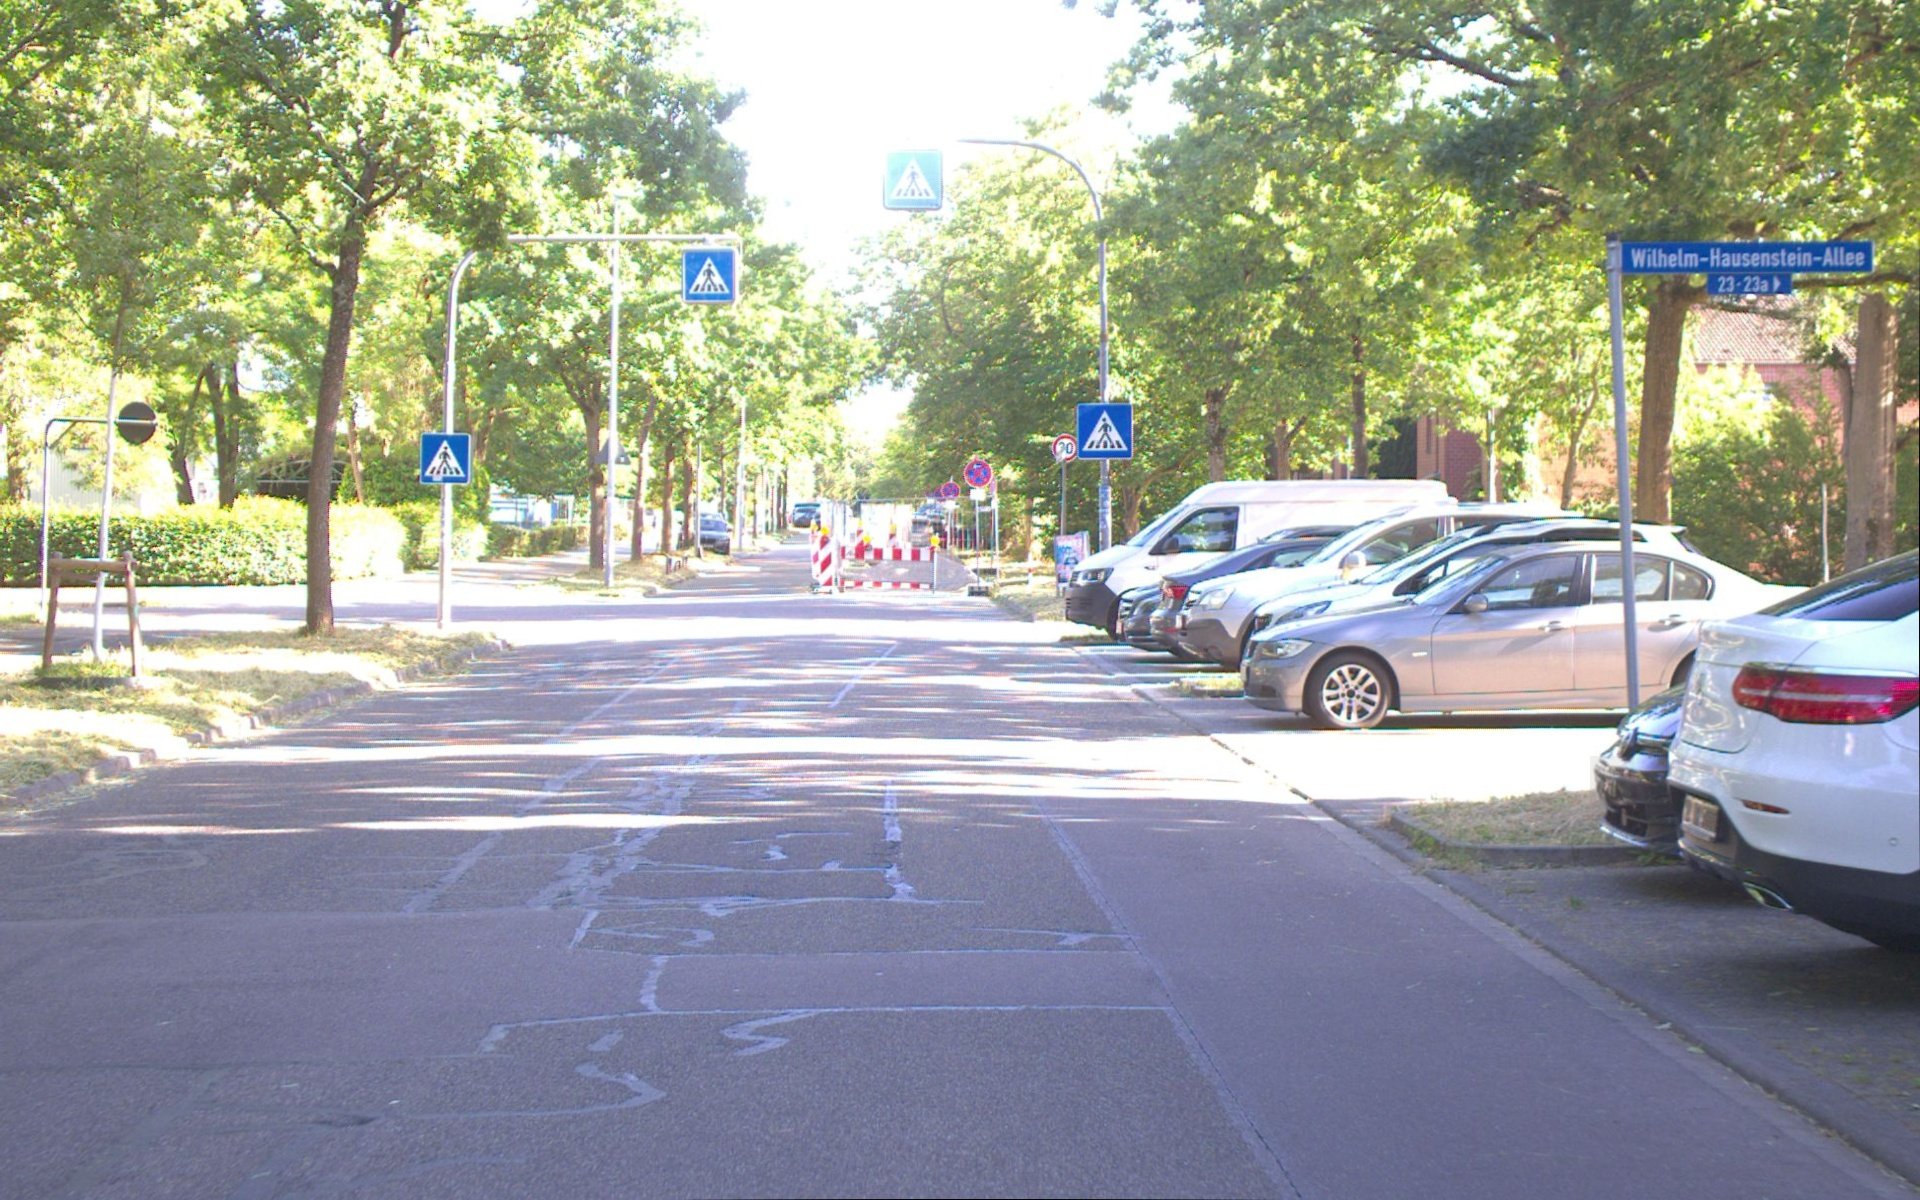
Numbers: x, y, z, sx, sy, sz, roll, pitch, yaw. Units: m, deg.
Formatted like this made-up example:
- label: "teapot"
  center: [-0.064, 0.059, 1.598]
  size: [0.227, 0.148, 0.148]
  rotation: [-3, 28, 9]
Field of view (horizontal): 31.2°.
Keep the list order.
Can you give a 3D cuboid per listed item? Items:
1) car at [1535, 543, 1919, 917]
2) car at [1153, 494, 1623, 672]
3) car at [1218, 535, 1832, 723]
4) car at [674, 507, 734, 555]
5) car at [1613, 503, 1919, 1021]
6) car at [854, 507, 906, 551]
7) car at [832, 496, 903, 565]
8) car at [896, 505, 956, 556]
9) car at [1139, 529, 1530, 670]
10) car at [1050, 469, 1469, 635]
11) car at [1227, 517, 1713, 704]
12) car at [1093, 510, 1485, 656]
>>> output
- label: "car"
  center: [4.988, 0.479, 14.752]
  size: [4.670, 1.450, 1.917]
  rotation: [-1, 1, -2]
- label: "car"
  center: [4.224, -0.193, 34.371]
  size: [4.384, 1.645, 1.851]
  rotation: [-1, 1, -3]
- label: "car"
  center: [4.320, 0.197, 26.772]
  size: [4.445, 1.385, 1.911]
  rotation: [0, 1, -1]
- label: "car"
  center: [-9.484, -2.566, 127.580]
  size: [1.993, 1.710, 4.001]
  rotation: [1, 1, -2]
- label: "car"
  center: [4.714, 0.440, 11.494]
  size: [4.670, 1.575, 1.917]
  rotation: [-1, 1, 0]
- label: "car"
  center: [-3.205, -2.831, 137.089]
  size: [1.993, 1.710, 4.001]
  rotation: [1, 1, -2]
- label: "car"
  center: [-2.709, -2.035, 100.417]
  size: [1.993, 1.926, 4.001]
  rotation: [1, 1, -2]
- label: "car"
  center: [-1.214, -2.453, 121.365]
  size: [1.993, 1.710, 4.001]
  rotation: [1, 1, -2]
- label: "car"
  center: [3.964, -0.025, 36.907]
  size: [3.987, 1.428, 1.901]
  rotation: [1, 1, 1]
- label: "car"
  center: [3.830, -0.629, 44.672]
  size: [5.186, 2.098, 2.083]
  rotation: [0, 1, -2]
- label: "car"
  center: [4.360, 0.064, 29.755]
  size: [3.884, 1.492, 1.777]
  rotation: [-1, 1, -2]
- label: "car"
  center: [3.734, -0.213, 39.540]
  size: [4.212, 1.563, 1.934]
  rotation: [1, 1, -3]
